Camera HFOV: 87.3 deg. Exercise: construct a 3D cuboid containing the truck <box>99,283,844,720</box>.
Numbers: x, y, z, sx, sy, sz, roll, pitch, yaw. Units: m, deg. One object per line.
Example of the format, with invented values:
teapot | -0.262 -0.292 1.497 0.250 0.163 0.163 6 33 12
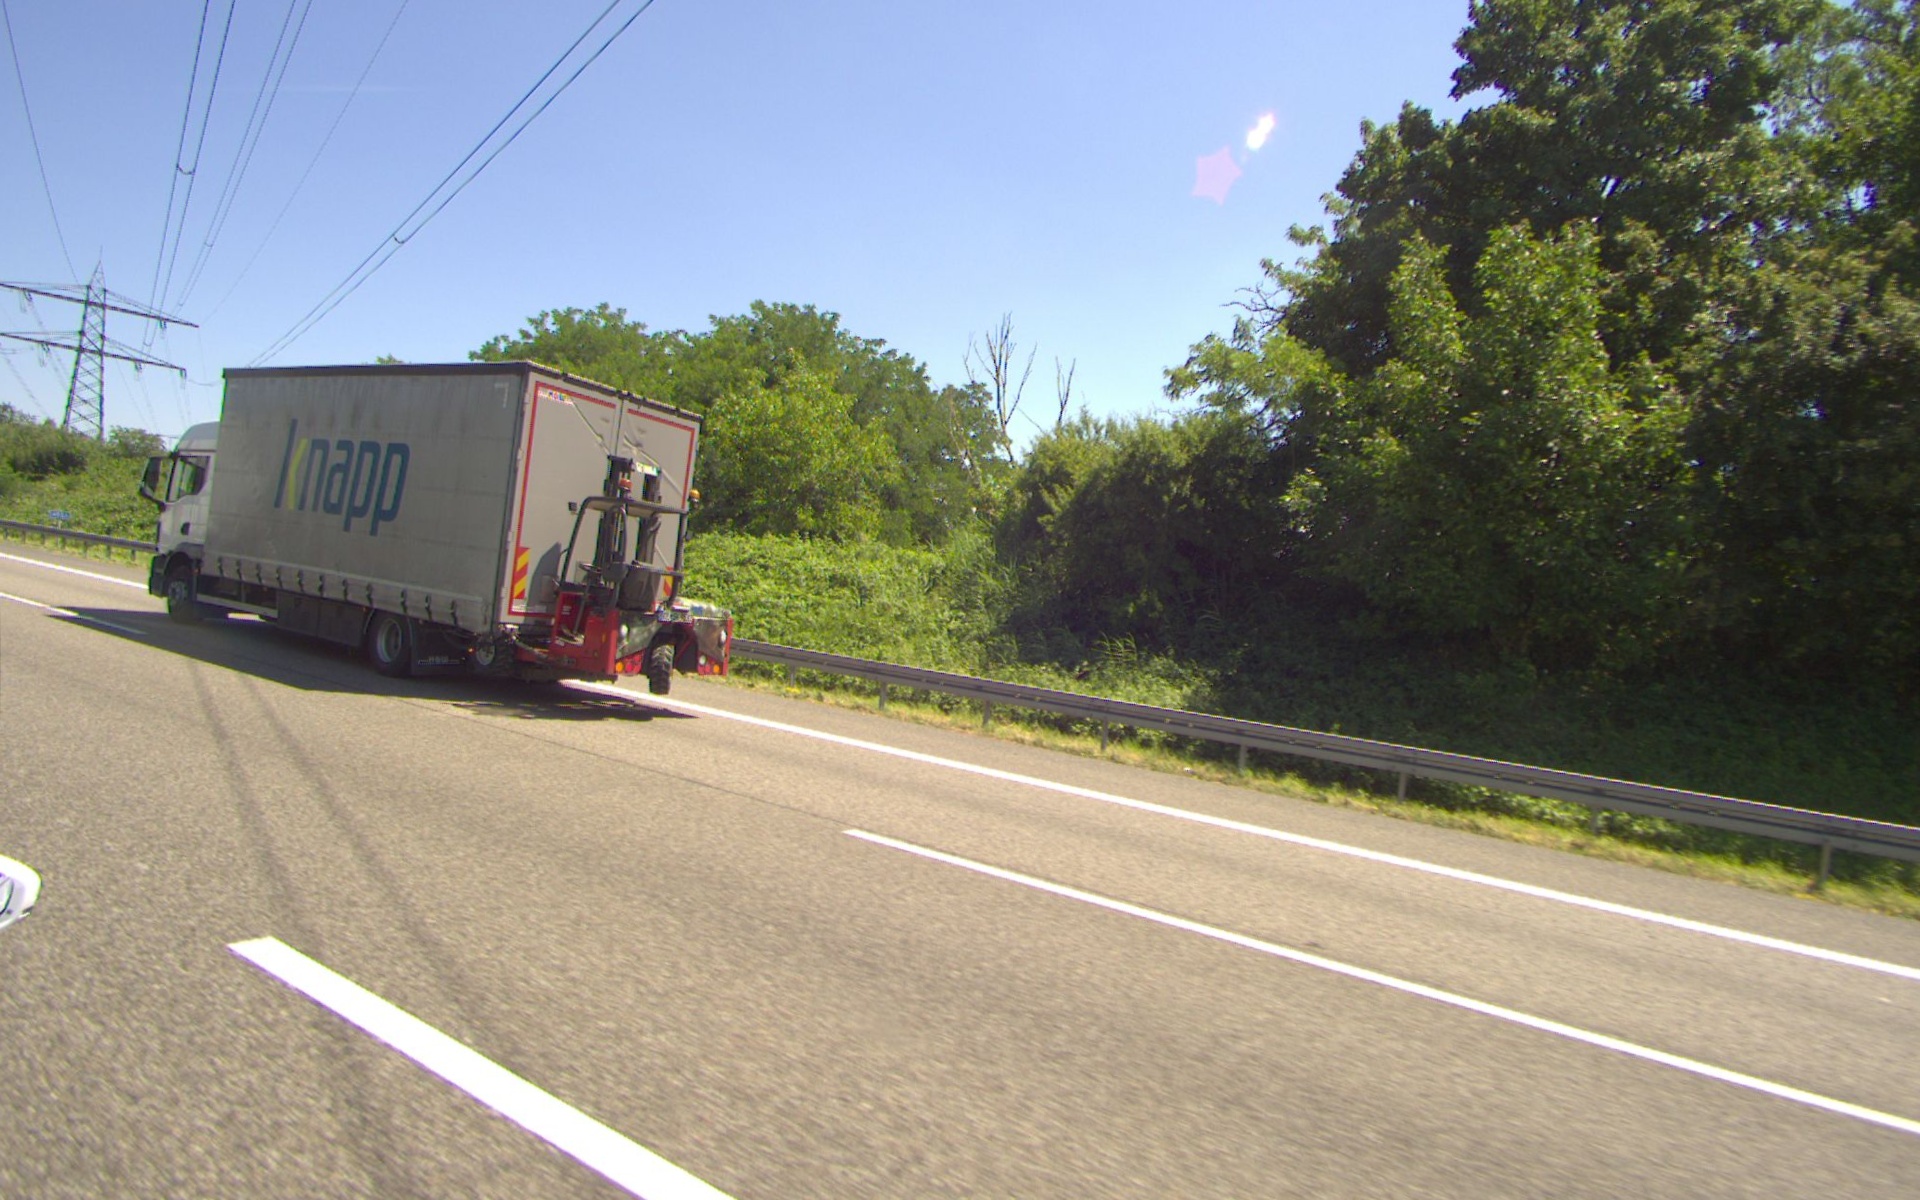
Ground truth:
truck | -7.515 -1.327 14.369 11.458 4.293 3.578 6 -2 32
